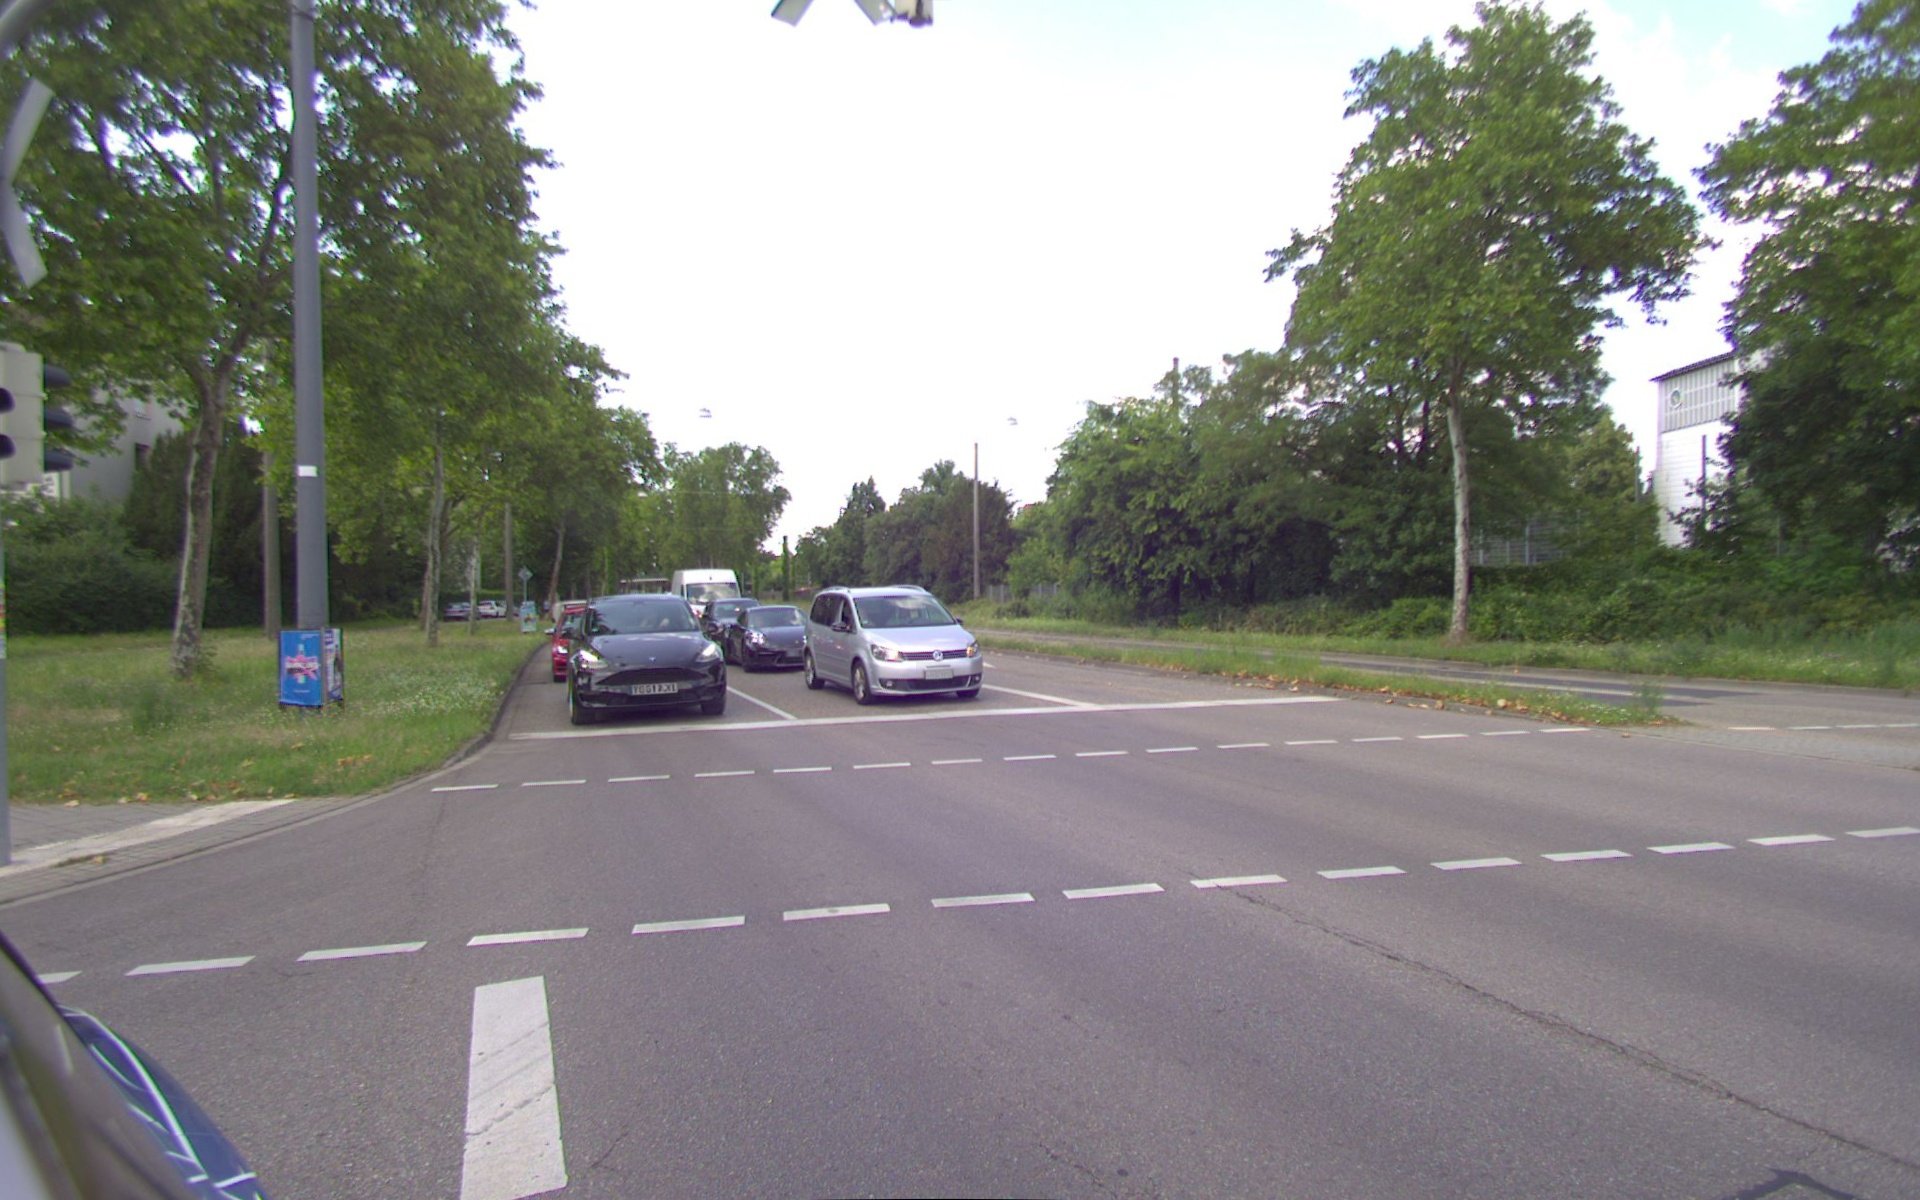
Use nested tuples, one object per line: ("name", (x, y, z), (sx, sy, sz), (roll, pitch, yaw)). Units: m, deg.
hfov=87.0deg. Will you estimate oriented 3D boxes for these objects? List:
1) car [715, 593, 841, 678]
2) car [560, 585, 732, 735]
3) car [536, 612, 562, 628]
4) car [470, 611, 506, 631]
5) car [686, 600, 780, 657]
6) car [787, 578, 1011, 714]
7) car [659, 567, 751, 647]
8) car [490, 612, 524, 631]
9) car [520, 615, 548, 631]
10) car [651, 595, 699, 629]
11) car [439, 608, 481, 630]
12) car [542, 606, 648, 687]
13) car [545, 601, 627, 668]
("car", (-3.933, 0.667, 21.345), (1.773, 1.519, 4.013), (-3, 1, -22))
("car", (-4.555, 0.695, 14.210), (1.898, 1.664, 4.595), (-3, 1, -21))
("car", (-44.480, 2.196, 109.630), (1.749, 1.608, 3.662), (-1, -2, -7))
("car", (-40.387, 1.810, 86.625), (1.749, 1.608, 3.662), (-1, -2, -7))
("car", (-6.431, 0.732, 28.332), (1.734, 1.385, 4.358), (-3, 1, -23))
("car", (-1.111, 0.585, 15.307), (1.897, 1.664, 4.517), (-3, 1, -23))
("car", (-9.221, 0.233, 36.218), (2.189, 2.549, 5.953), (-3, 1, -23))
("car", (-40.724, 1.955, 91.031), (1.749, 1.608, 3.662), (-1, -2, -7))
("car", (-42.856, 2.334, 101.870), (1.749, 1.608, 3.662), (-1, -2, -7))
("car", (-14.497, 0.576, 51.337), (1.734, 1.659, 4.358), (-1, 0, -23))
("car", (-38.380, 1.499, 77.773), (1.749, 1.608, 3.662), (-1, -2, -7))
("car", (-7.750, 0.885, 21.259), (1.771, 1.401, 4.517), (-3, 1, -23))
("car", (-10.189, 0.853, 27.380), (1.771, 1.581, 4.517), (-3, 1, -23))
